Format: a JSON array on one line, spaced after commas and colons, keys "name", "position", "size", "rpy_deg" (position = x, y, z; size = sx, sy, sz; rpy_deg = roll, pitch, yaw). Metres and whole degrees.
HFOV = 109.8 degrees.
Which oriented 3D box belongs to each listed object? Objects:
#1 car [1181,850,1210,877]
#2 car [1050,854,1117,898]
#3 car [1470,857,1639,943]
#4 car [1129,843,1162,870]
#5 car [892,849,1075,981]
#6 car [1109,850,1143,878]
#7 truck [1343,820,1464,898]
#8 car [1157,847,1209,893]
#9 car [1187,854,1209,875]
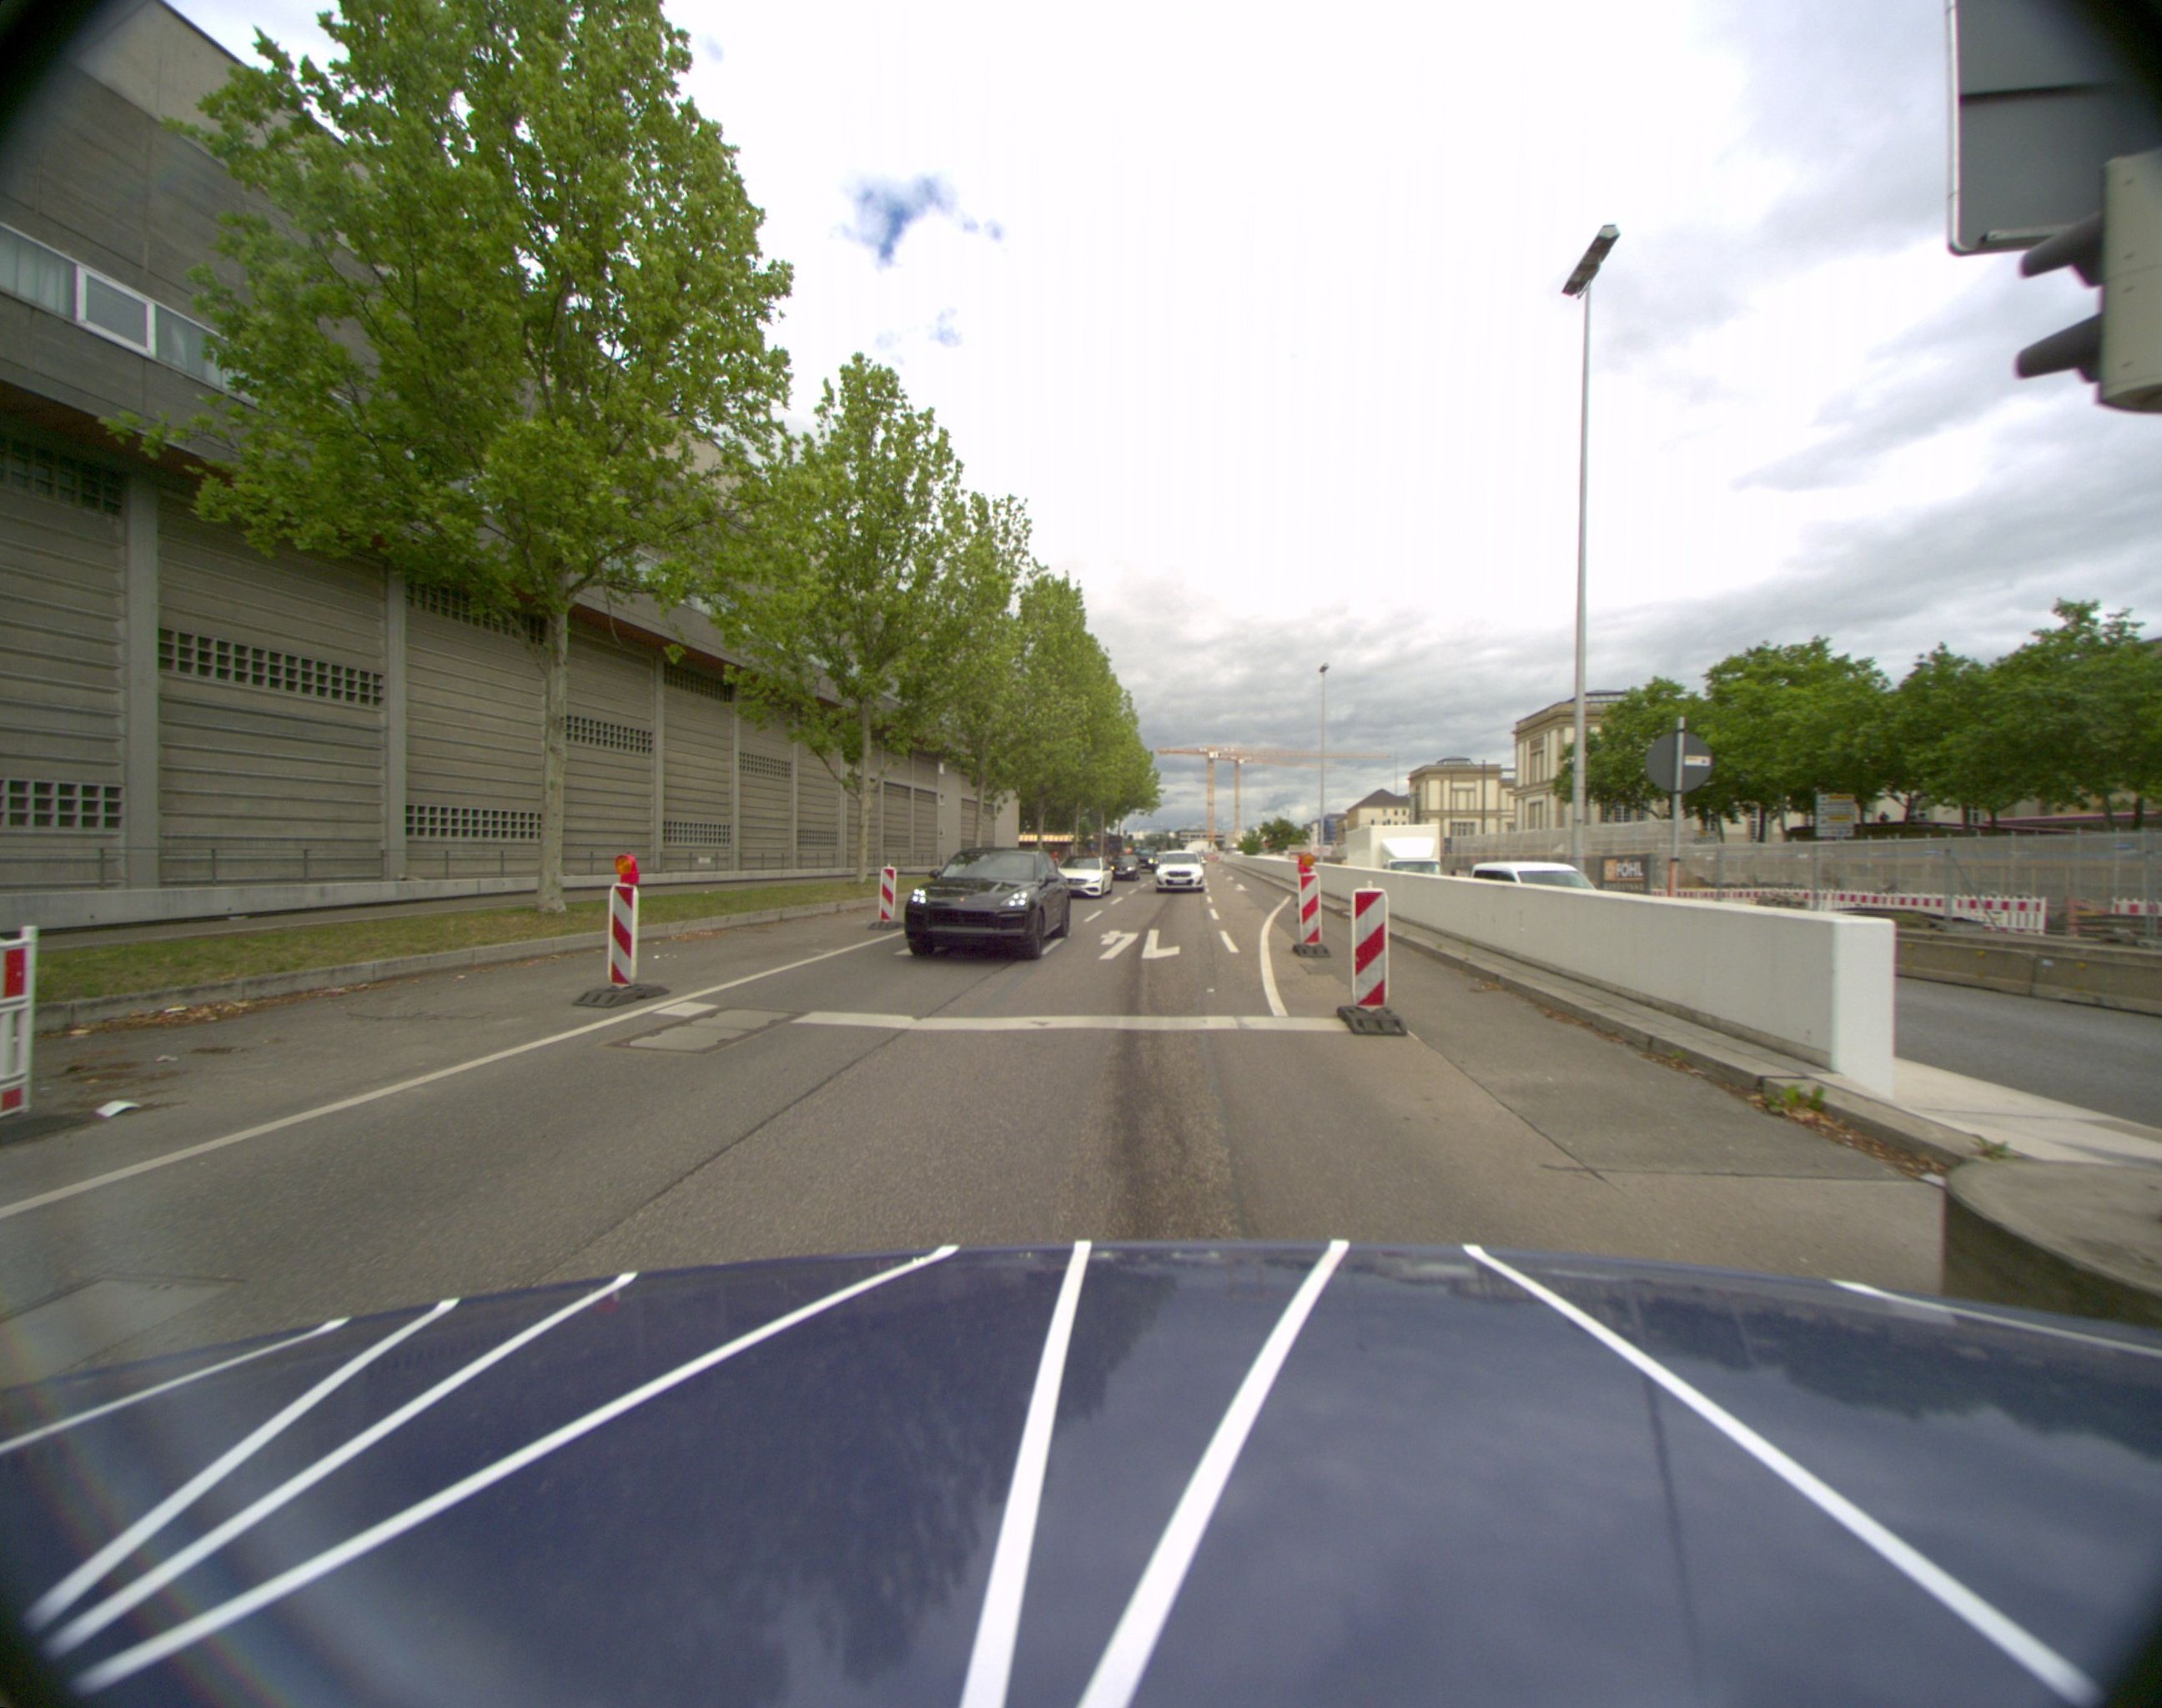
[{"name": "car", "position": [6.675, 0.530, 44.432], "size": [1.611, 1.465, 3.624], "rpy_deg": [0, 1, 8]}, {"name": "car", "position": [0.185, 0.725, 26.898], "size": [1.933, 1.368, 4.001], "rpy_deg": [1, 1, 6]}, {"name": "car", "position": [11.209, 0.971, 18.405], "size": [1.841, 1.751, 4.483], "rpy_deg": [0, 1, 9]}, {"name": "car", "position": [4.795, 0.178, 55.941], "size": [1.951, 1.914, 4.402], "rpy_deg": [0, 1, 11]}, {"name": "car", "position": [-1.370, 0.815, 12.490], "size": [1.906, 1.648, 4.203], "rpy_deg": [4, 1, 7]}, {"name": "car", "position": [2.573, 0.507, 42.397], "size": [1.611, 1.465, 3.624], "rpy_deg": [0, 1, 8]}, {"name": "truck", "position": [12.735, 0.134, 30.726], "size": [2.975, 2.758, 7.260], "rpy_deg": [0, 1, 10]}, {"name": "car", "position": [4.140, 0.563, 30.388], "size": [1.854, 1.619, 4.909], "rpy_deg": [-1, 1, 9]}, {"name": "car", "position": [8.791, 0.782, 57.369], "size": [1.611, 1.465, 3.624], "rpy_deg": [0, 1, 8]}]
